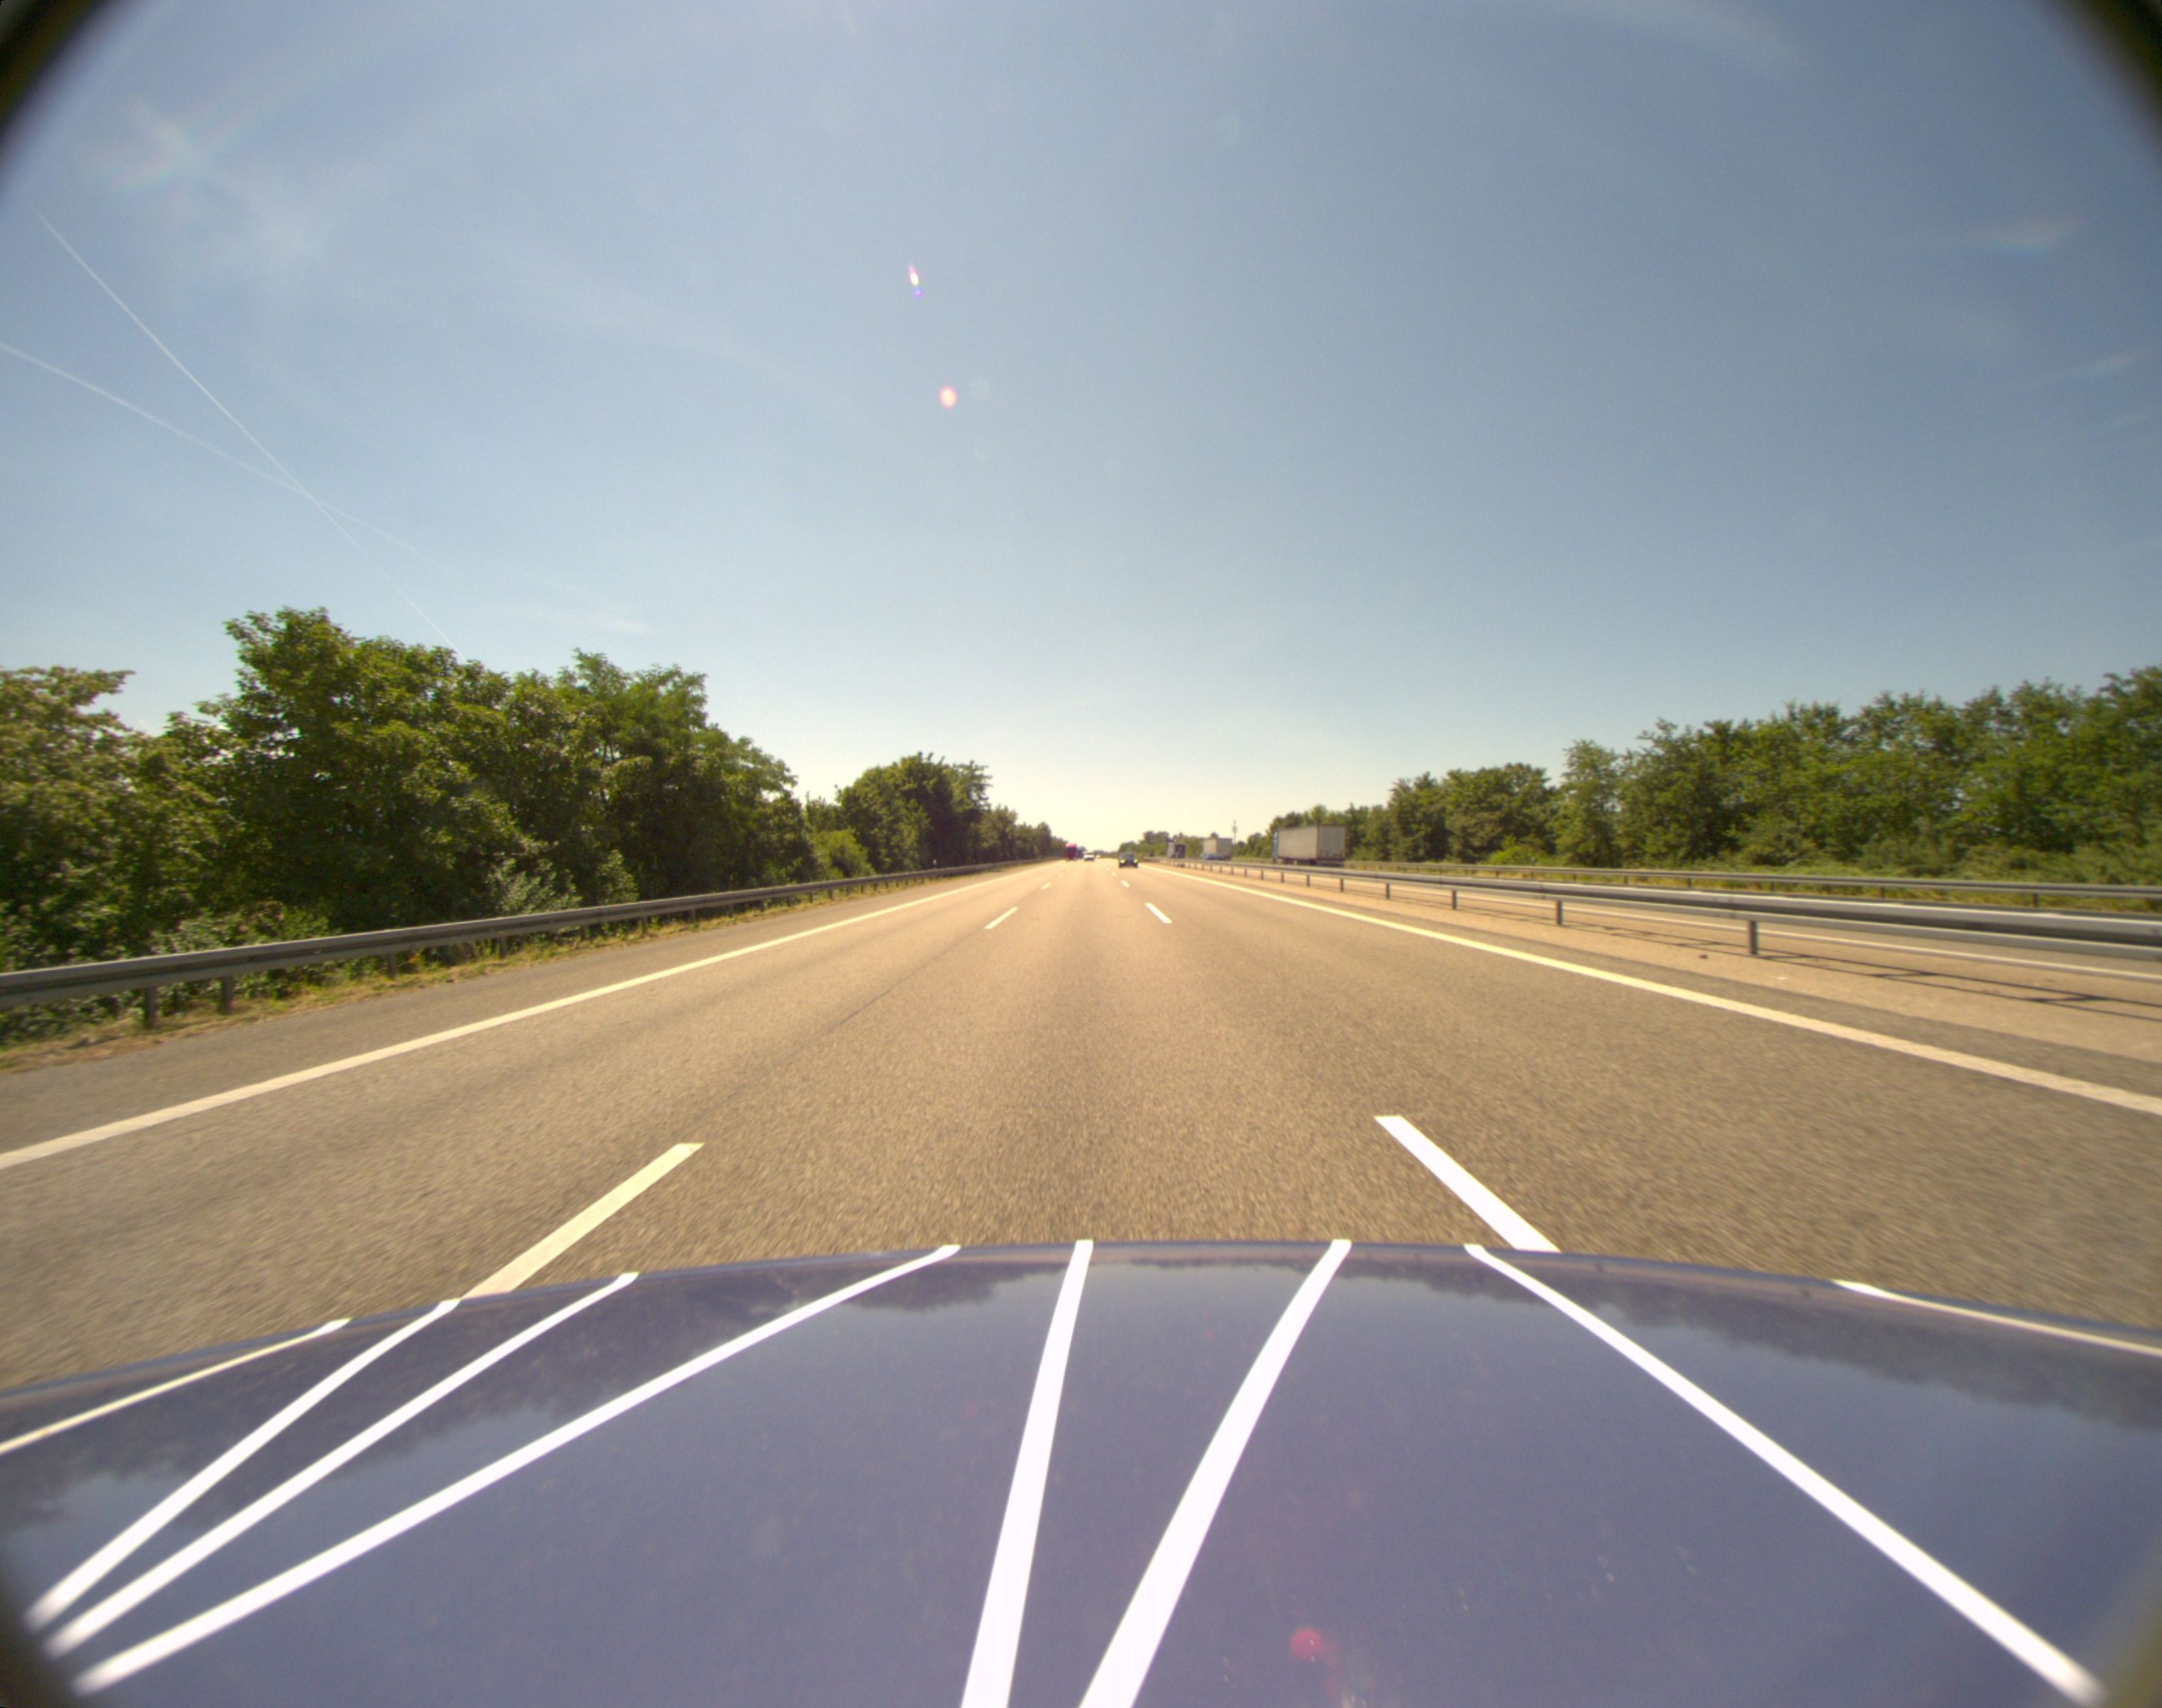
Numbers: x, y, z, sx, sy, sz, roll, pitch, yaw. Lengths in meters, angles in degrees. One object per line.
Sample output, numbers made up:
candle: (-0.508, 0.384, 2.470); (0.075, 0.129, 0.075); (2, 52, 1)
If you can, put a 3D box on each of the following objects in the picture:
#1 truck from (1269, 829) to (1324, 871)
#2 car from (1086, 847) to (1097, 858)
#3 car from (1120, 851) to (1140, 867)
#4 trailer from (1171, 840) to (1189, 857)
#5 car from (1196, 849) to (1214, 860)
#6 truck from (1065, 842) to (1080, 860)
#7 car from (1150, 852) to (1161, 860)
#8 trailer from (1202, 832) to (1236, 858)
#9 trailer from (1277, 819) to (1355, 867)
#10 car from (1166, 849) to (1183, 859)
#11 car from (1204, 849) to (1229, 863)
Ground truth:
truck: (22.175, -0.376, 78.592); (3.260, 3.963, 8.727); (-1, 0, 1)
car: (2.099, -0.232, 145.938); (1.998, 2.002, 4.756); (-2, 0, 1)
car: (4.760, 0.494, 74.429); (1.736, 1.433, 4.000); (-2, 0, 1)
trailer: (24.525, -1.339, 188.744); (2.927, 4.162, 13.540); (1, 1, 1)
car: (18.402, 0.020, 112.777); (1.854, 1.455, 4.313); (-4, 1, 1)
truck: (-1.921, -0.710, 178.527); (2.938, 3.933, 10.261); (-2, 0, 1)
car: (21.014, 0.481, 214.556); (2.234, 1.977, 5.356); (-4, 1, 1)
trailer: (23.092, -1.442, 127.814); (3.357, 4.162, 13.541); (0, 0, 0)
trailer: (22.177, -0.945, 72.825); (3.305, 4.162, 13.541); (0, 0, 0)
car: (14.120, -0.030, 114.901); (1.854, 1.455, 5.169); (2, 1, 1)
car: (14.472, 0.215, 81.616); (1.854, 1.387, 4.742); (1, 1, 1)
